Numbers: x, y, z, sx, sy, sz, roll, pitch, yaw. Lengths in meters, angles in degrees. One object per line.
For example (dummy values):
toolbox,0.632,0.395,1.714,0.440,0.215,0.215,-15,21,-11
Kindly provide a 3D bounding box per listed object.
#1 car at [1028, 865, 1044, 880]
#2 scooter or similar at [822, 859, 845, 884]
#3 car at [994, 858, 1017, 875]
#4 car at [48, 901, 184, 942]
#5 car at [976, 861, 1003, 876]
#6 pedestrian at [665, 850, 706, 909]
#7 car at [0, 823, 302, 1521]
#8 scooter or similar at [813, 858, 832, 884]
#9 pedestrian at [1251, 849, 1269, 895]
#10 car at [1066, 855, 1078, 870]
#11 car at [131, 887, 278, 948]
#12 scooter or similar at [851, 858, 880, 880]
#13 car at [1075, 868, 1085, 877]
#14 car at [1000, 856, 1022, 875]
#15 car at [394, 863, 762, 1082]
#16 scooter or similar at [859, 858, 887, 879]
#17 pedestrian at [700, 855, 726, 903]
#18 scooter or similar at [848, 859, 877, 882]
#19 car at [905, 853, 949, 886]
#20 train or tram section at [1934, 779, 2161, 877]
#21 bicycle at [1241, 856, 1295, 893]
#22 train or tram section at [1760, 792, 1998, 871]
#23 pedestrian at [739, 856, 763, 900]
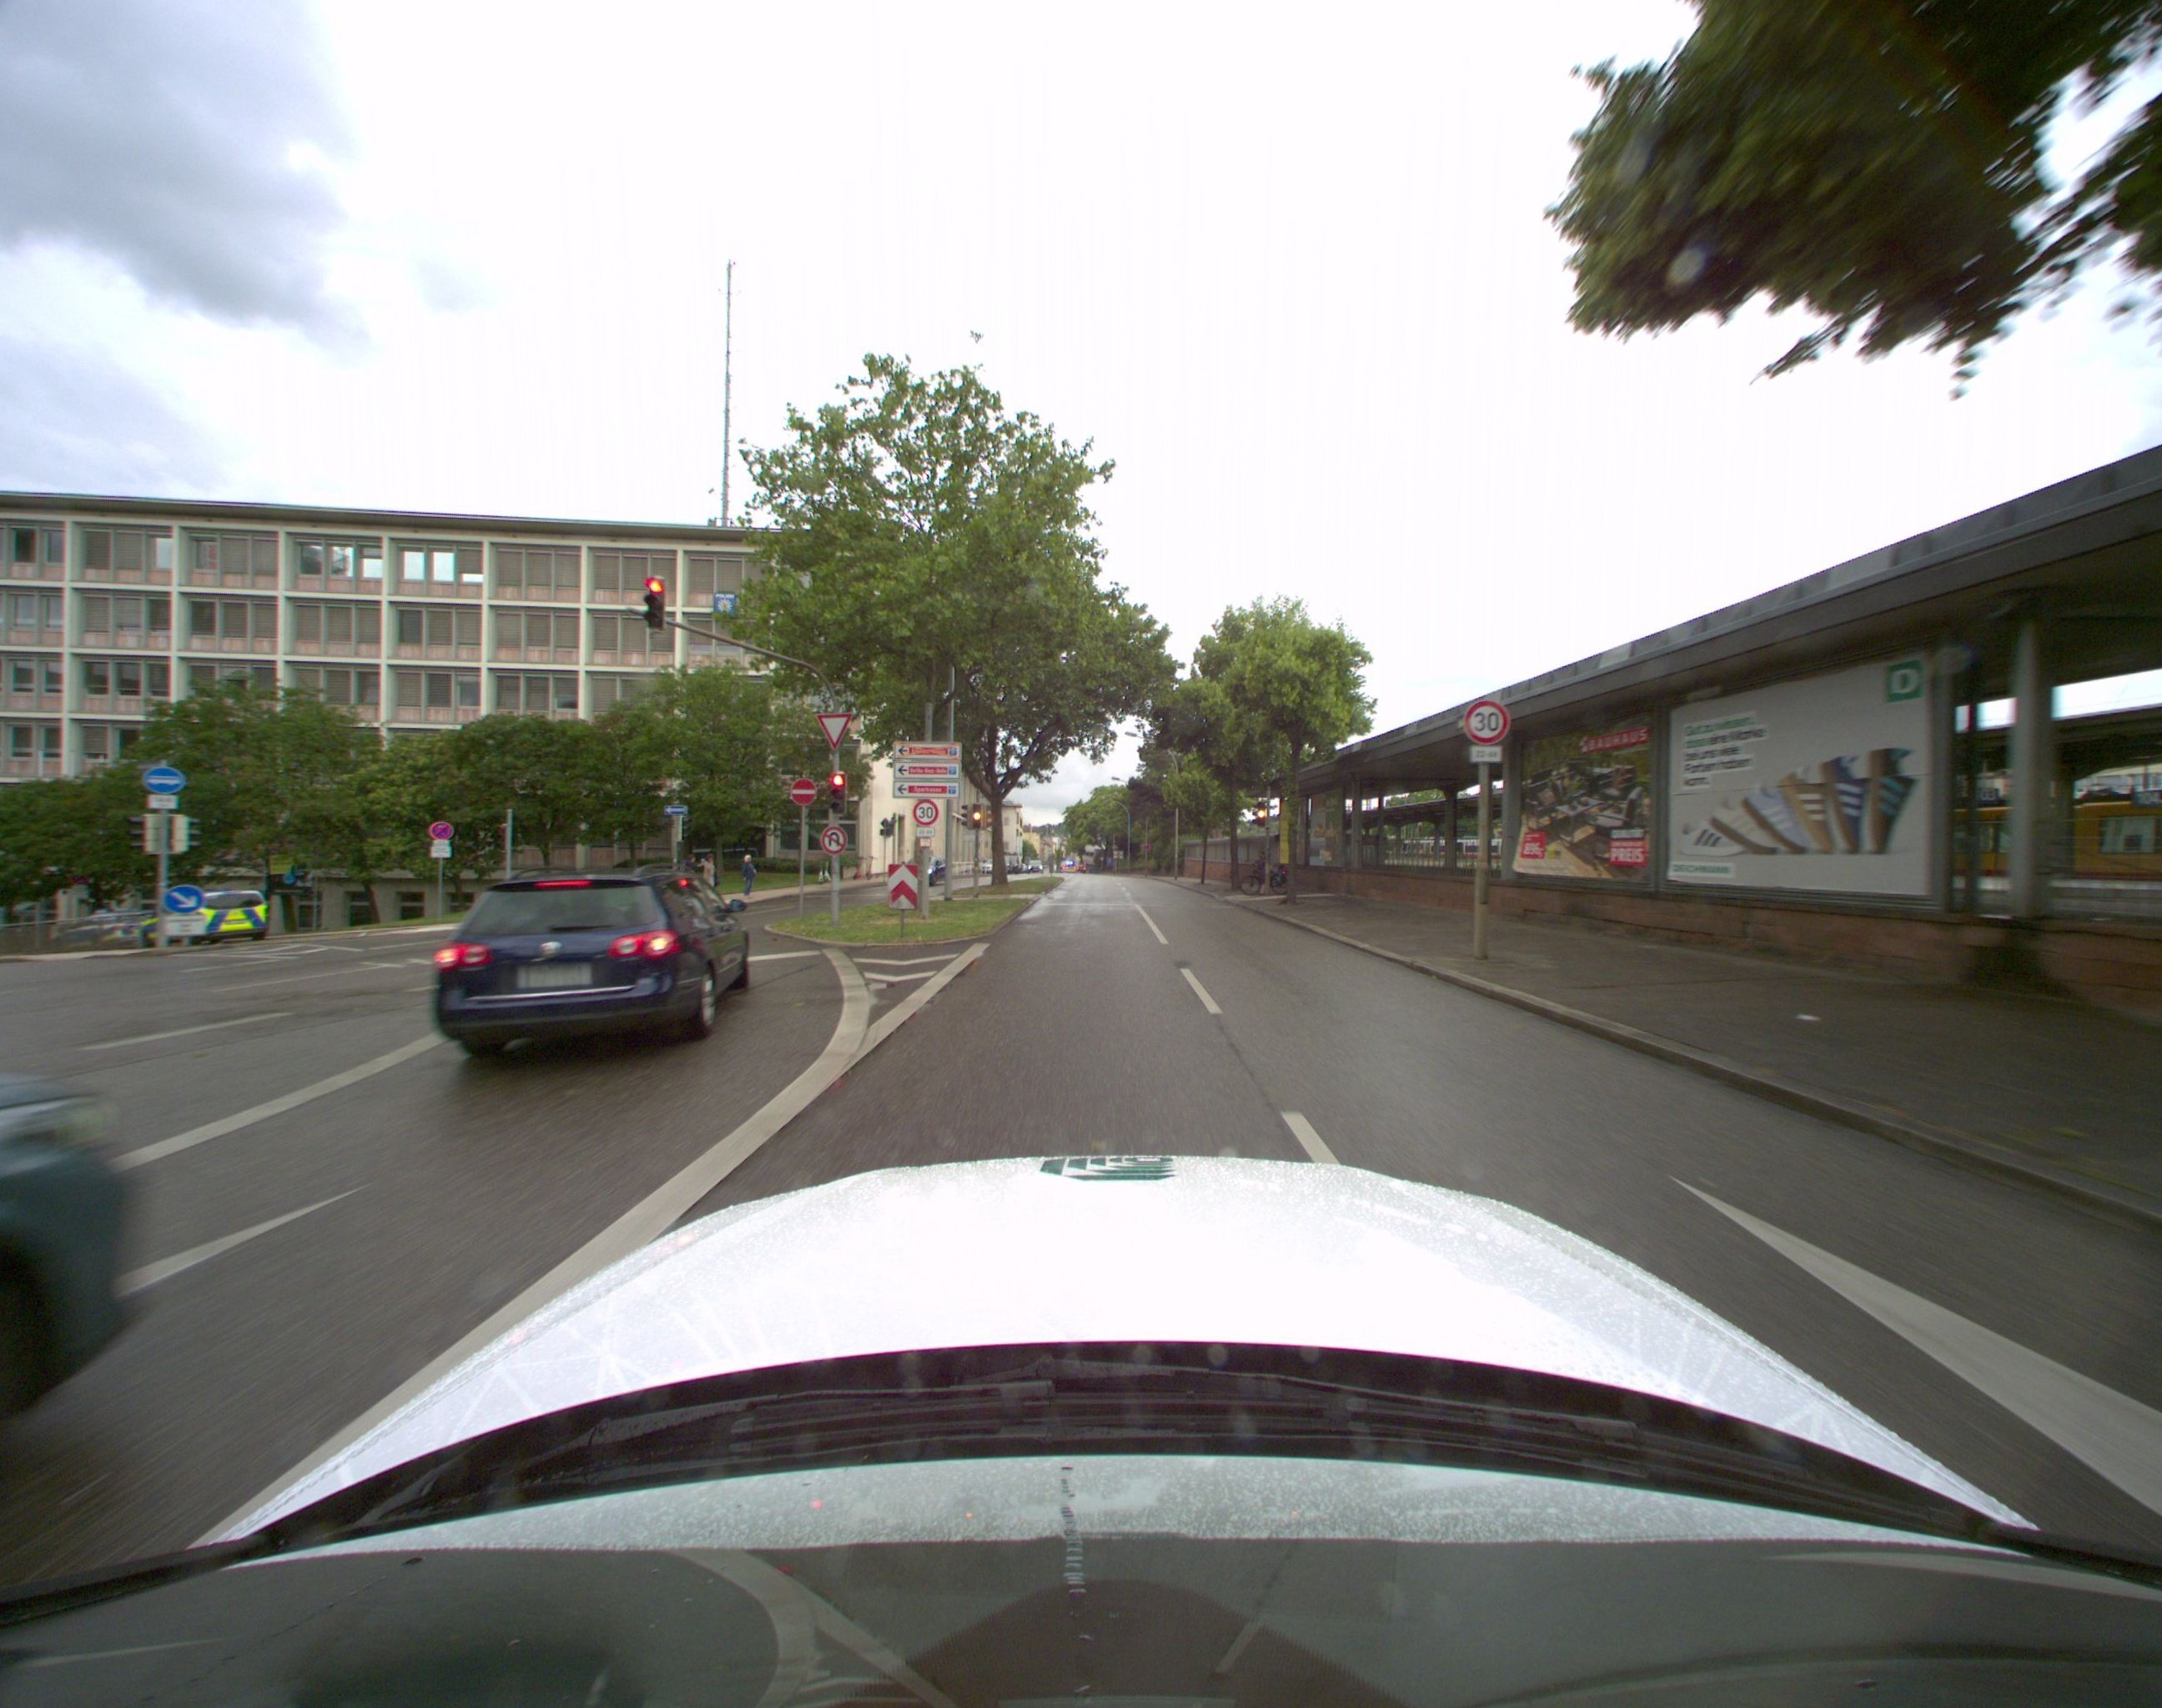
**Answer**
car,-5.316,2.180,96.417,1.817,1.660,4.333,-1,-1,-2
scooter or similar,-12.179,0.851,40.086,0.567,1.192,1.576,0,0,4
car,-7.562,1.232,81.546,1.791,1.676,4.602,1,-1,0
car,-37.727,2.620,31.855,4.534,1.419,2.010,-2,-1,21
car,-7.850,1.238,70.245,1.684,1.297,4.095,1,-1,3
pedestrian,-13.888,0.892,28.606,0.930,2.045,0.875,-1,0,7
car,-3.505,0.755,0.459,1.958,1.640,4.357,-1,0,-1
scooter or similar,-12.191,0.787,38.471,0.487,1.167,1.500,0,0,-3
pedestrian,6.111,0.608,27.747,0.452,1.568,0.396,-2,0,32
car,-1.770,1.549,154.229,2.257,2.656,3.998,-1,0,-1
car,-31.552,2.283,29.315,4.534,1.965,2.010,-3,-1,21
scooter or similar,-11.988,0.851,45.337,0.601,1.192,1.538,-1,0,34
car,-0.207,4.040,182.718,2.086,1.910,4.097,-1,0,-2
car,-7.691,1.260,89.866,1.943,1.944,4.994,1,-1,-1
car,-4.280,0.811,7.799,1.819,1.409,4.391,-1,0,-15
scooter or similar,-11.894,0.844,46.661,0.601,1.164,1.538,-1,0,34
pedestrian,-13.421,0.893,29.709,0.652,1.710,0.795,-1,0,-8
scooter or similar,-11.802,0.870,44.021,0.601,1.192,1.538,-1,0,34
car,-7.512,0.722,40.014,1.840,1.508,4.092,1,0,-7
train or tram section,37.468,-0.885,29.895,2.646,3.282,9.131,-2,0,0
bicycle,6.403,0.709,27.962,1.703,1.249,0.489,-2,0,32
train or tram section,37.432,-0.949,38.853,2.646,3.282,8.760,-2,0,0
pedestrian,-12.325,0.886,30.399,0.653,1.603,0.921,-1,0,-11
